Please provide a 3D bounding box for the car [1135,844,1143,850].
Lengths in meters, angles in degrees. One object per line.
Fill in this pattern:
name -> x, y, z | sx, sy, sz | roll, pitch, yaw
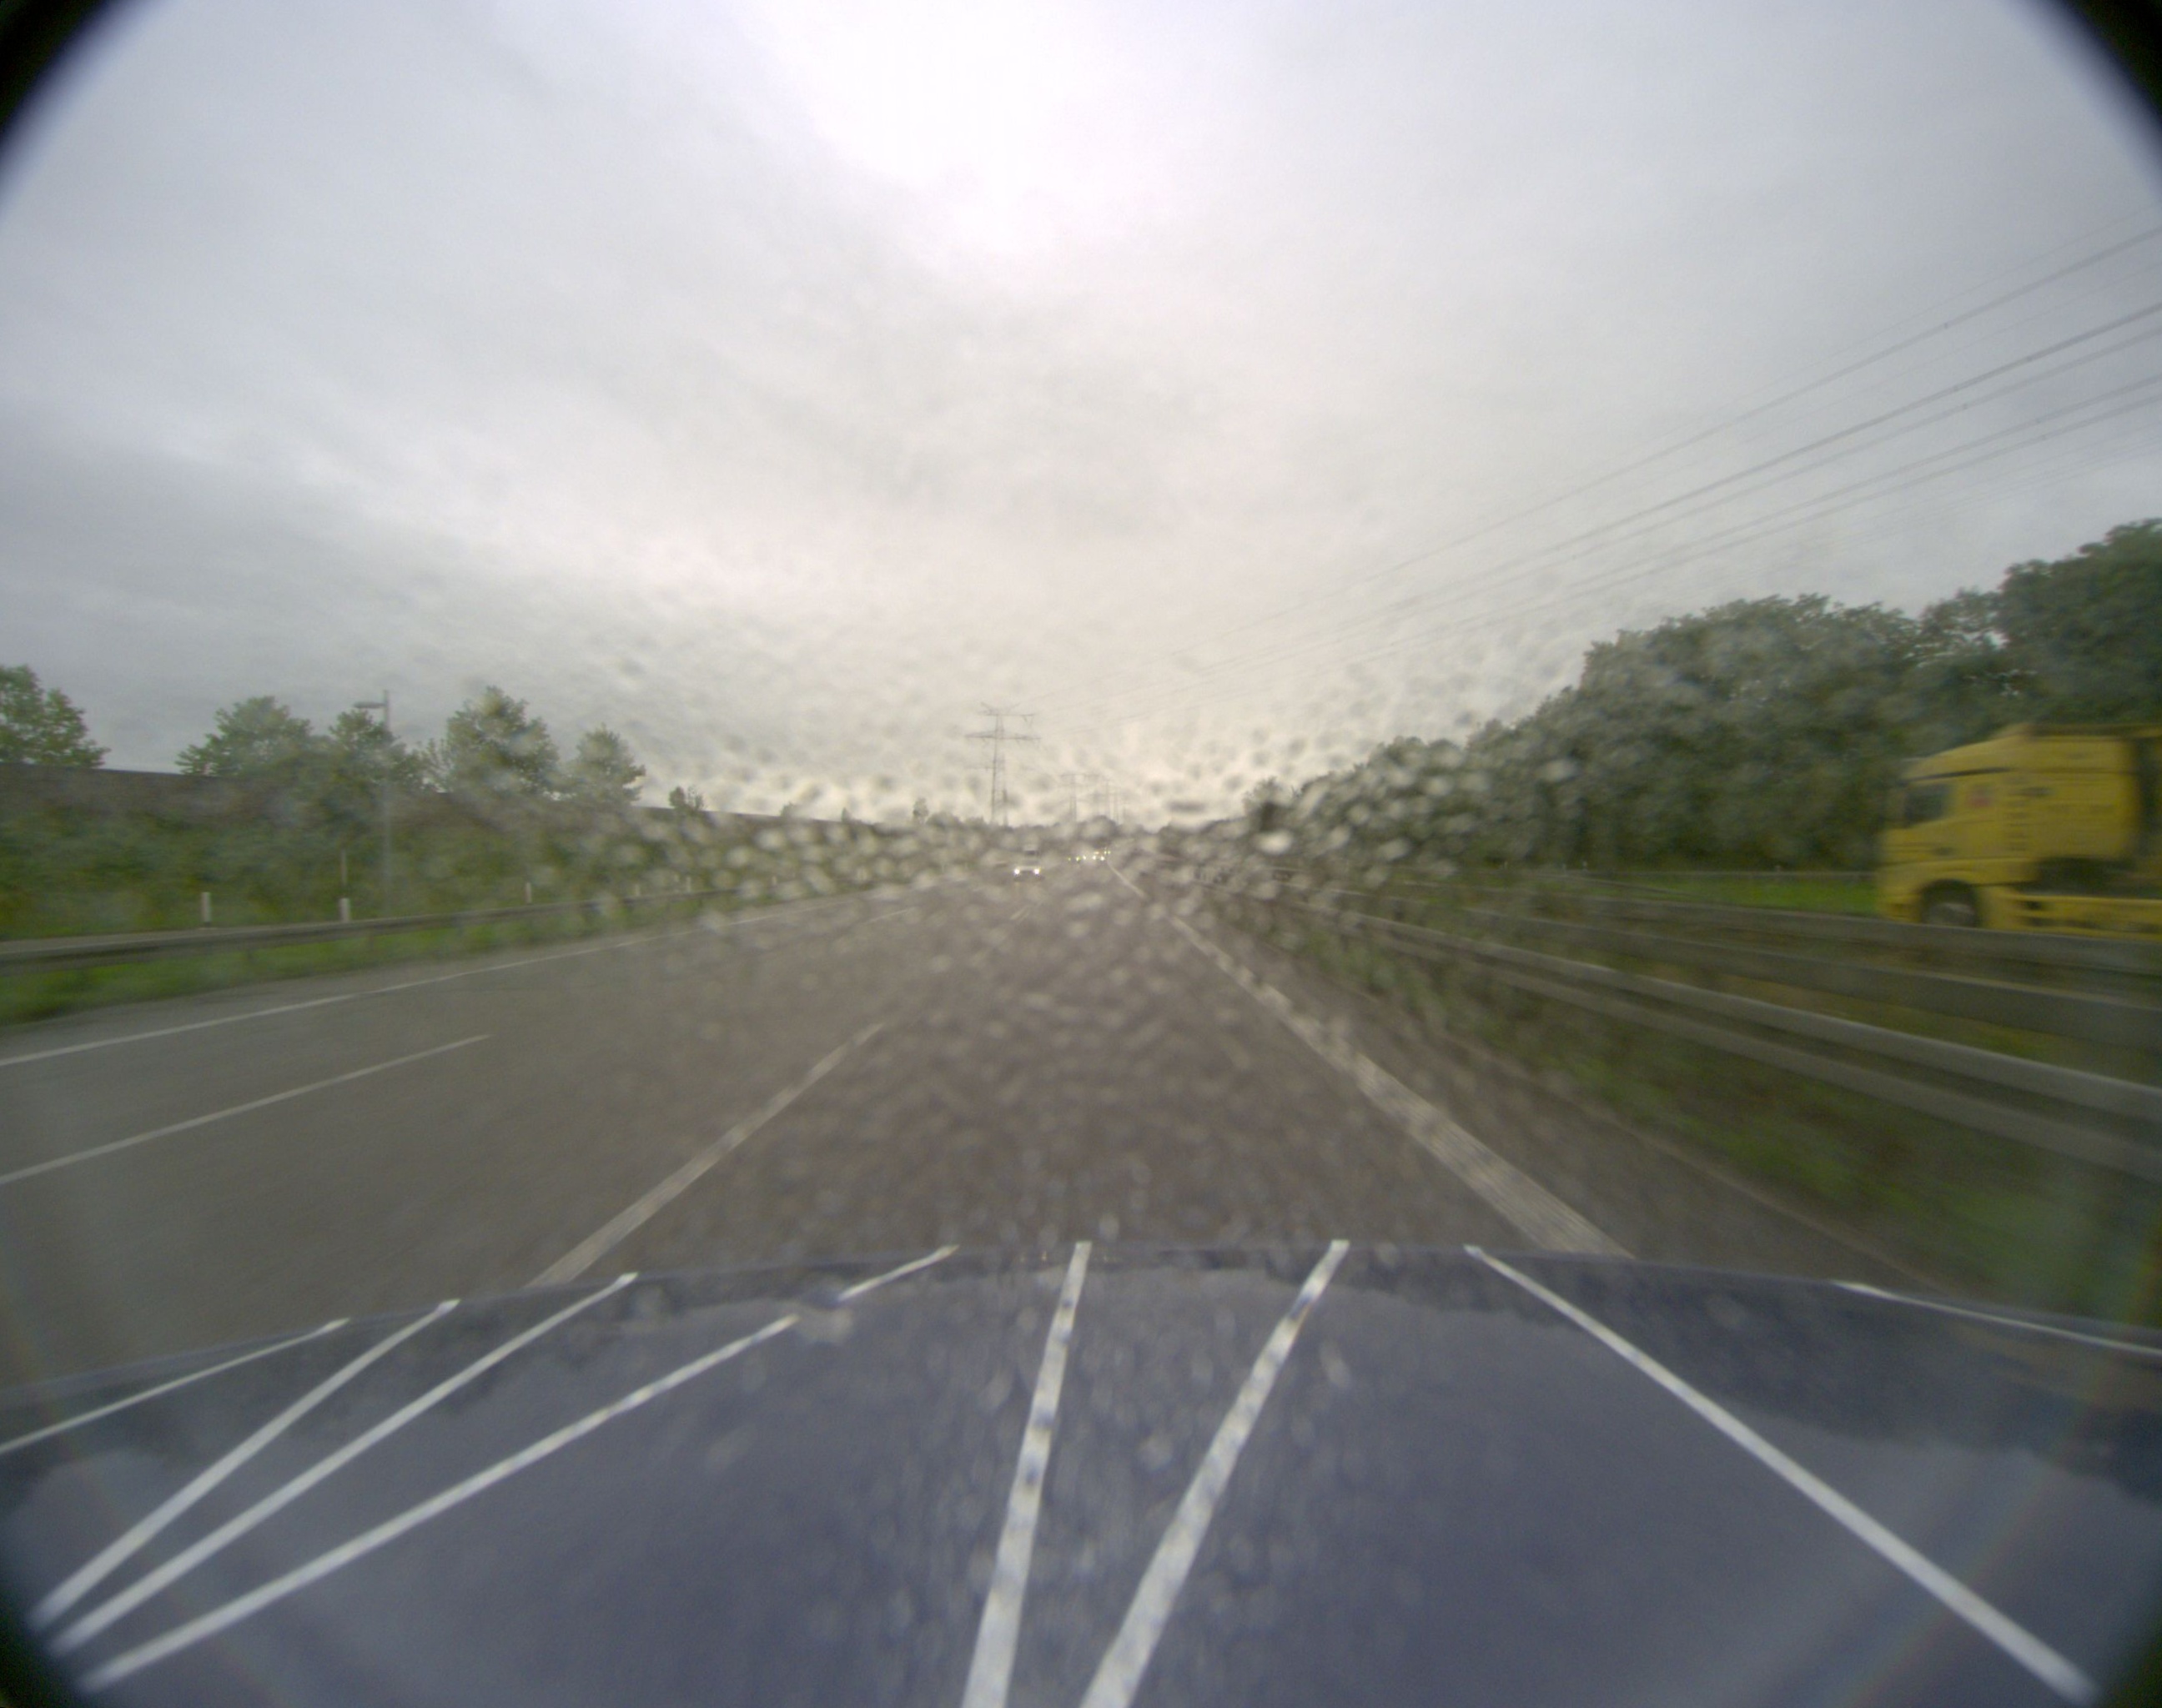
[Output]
car -> 15.459, -1.783, 201.366 | 1.928, 1.646, 4.790 | 0, 1, 1

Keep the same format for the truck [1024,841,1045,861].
truck -> -7.948, -0.587, 131.558 | 2.648, 3.325, 6.931 | -2, 1, 4

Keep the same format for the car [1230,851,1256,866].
car -> 17.221, 0.445, 80.979 | 1.879, 1.485, 4.514 | 1, 0, 1

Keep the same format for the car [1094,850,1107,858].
car -> 3.502, -0.012, 136.206 | 1.998, 1.419, 4.000 | -2, 1, 4

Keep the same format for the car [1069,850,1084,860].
car -> -0.716, 0.116, 122.304 | 1.998, 1.419, 4.000 | -2, 1, 4

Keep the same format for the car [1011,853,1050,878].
car -> -3.249, 0.736, 49.586 | 1.998, 1.419, 4.000 | -2, 1, 4

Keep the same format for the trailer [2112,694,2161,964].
trailer -> 17.463, -0.343, 7.224 | 2.769, 4.032, 9.200 | 1, 0, 1

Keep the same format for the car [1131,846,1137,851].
car -> 18.211, -1.936, 262.455 | 1.826, 1.503, 4.790 | 0, 1, 2

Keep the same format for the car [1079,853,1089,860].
car -> 0.675, 0.582, 163.213 | 1.856, 1.419, 4.000 | -2, 1, 4

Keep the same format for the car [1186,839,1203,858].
car -> 20.848, -0.983, 139.707 | 2.259, 3.308, 6.175 | 0, 1, 1

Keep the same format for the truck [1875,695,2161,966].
truck -> 17.502, -0.334, 12.299 | 2.769, 4.032, 6.156 | 1, 0, 1

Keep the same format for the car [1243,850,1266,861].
car -> 24.783, 0.136, 108.557 | 1.974, 1.534, 3.998 | 0, 0, -5
